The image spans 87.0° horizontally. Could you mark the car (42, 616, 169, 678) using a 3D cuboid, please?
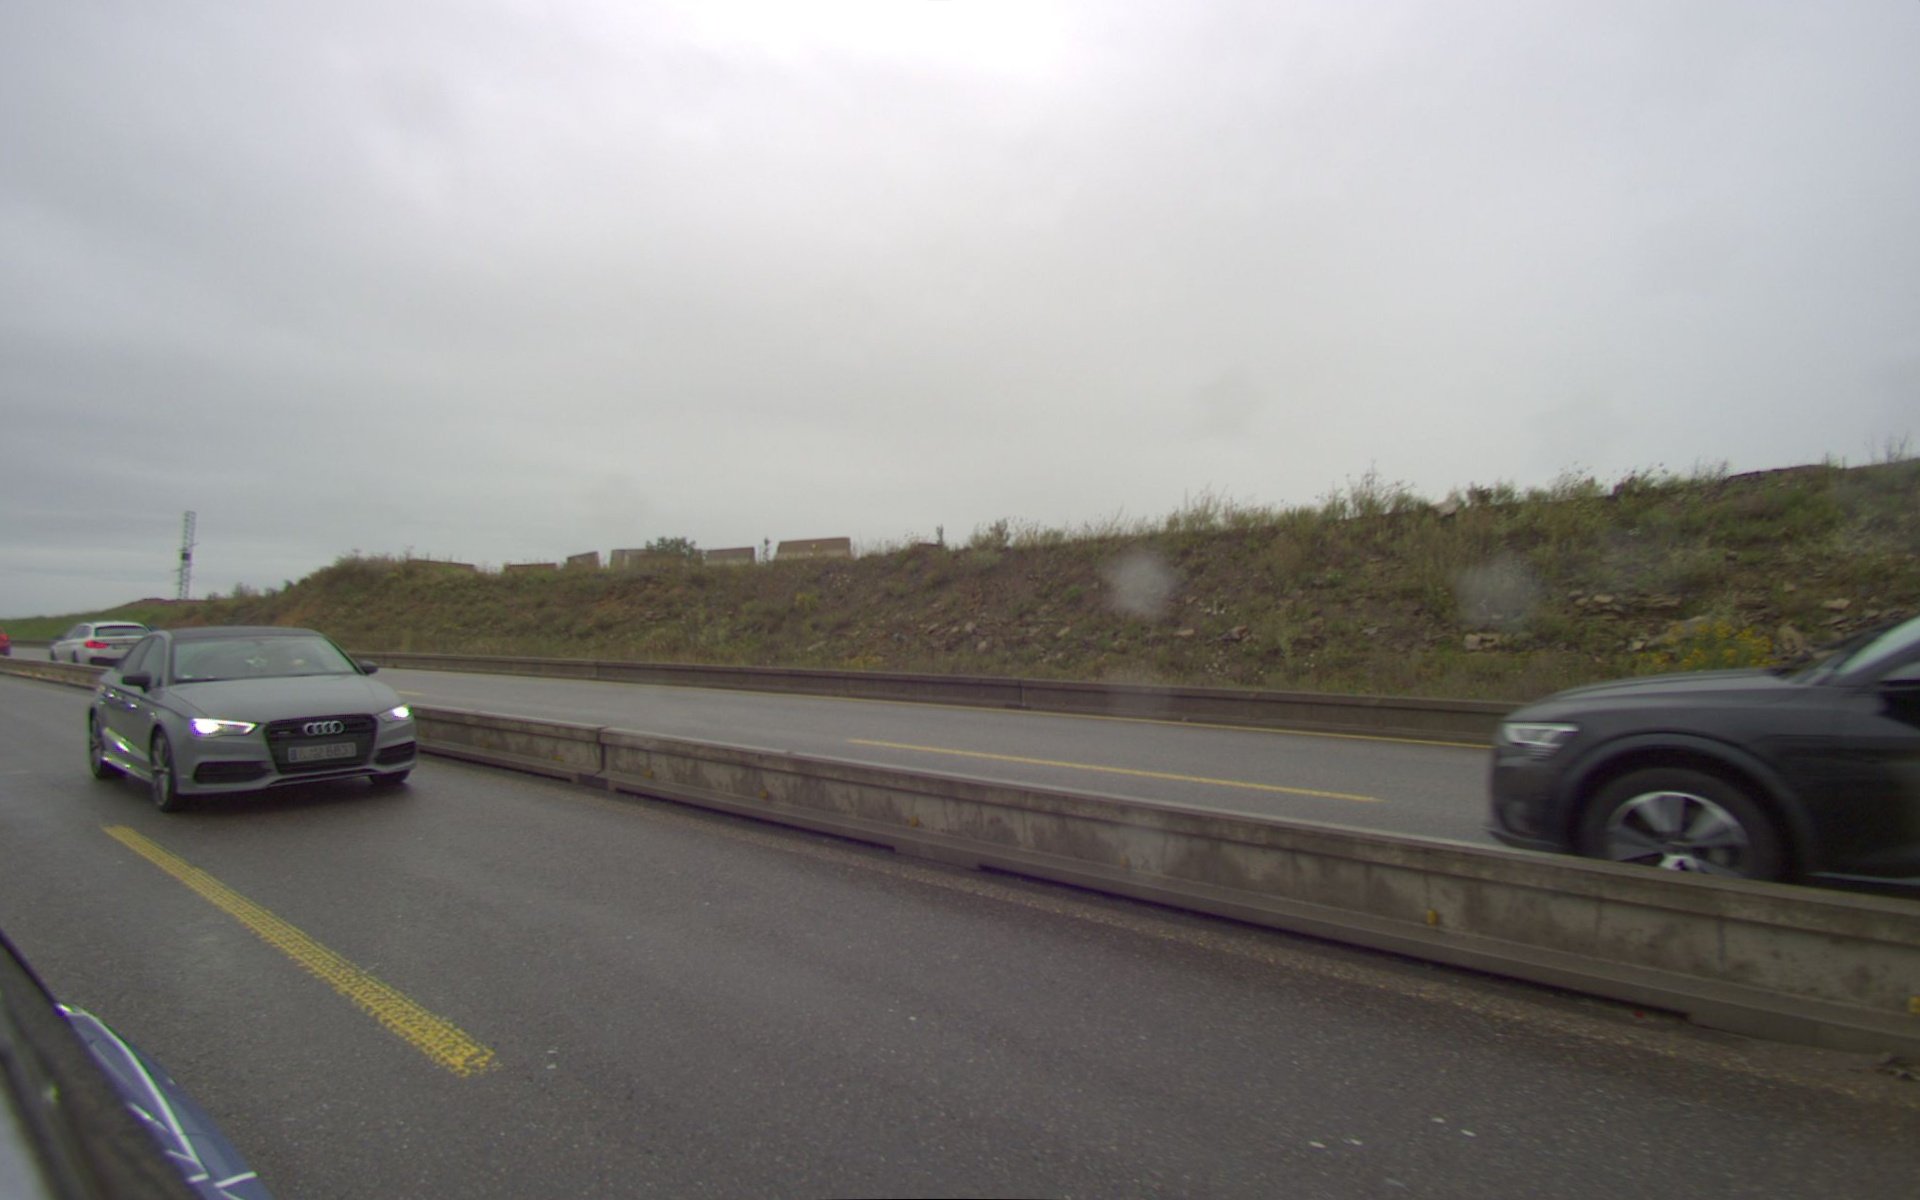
[{"bbox_3d":[-25.110,1.307,29.669,4.985,1.645,2.025,-1,-1,40],"label":"car"}]

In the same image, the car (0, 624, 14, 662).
[{"bbox_3d":[-41.931,1.834,43.203,3.716,1.589,1.710,-1,-1,38],"label":"car"}]

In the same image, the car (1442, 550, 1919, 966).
[{"bbox_3d":[4.840,0.618,4.129,4.899,1.605,1.792,-1,-2,41],"label":"car"}]

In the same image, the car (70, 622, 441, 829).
[{"bbox_3d":[-6.411,0.913,9.035,4.085,1.393,1.781,-1,-1,41],"label":"car"}]
